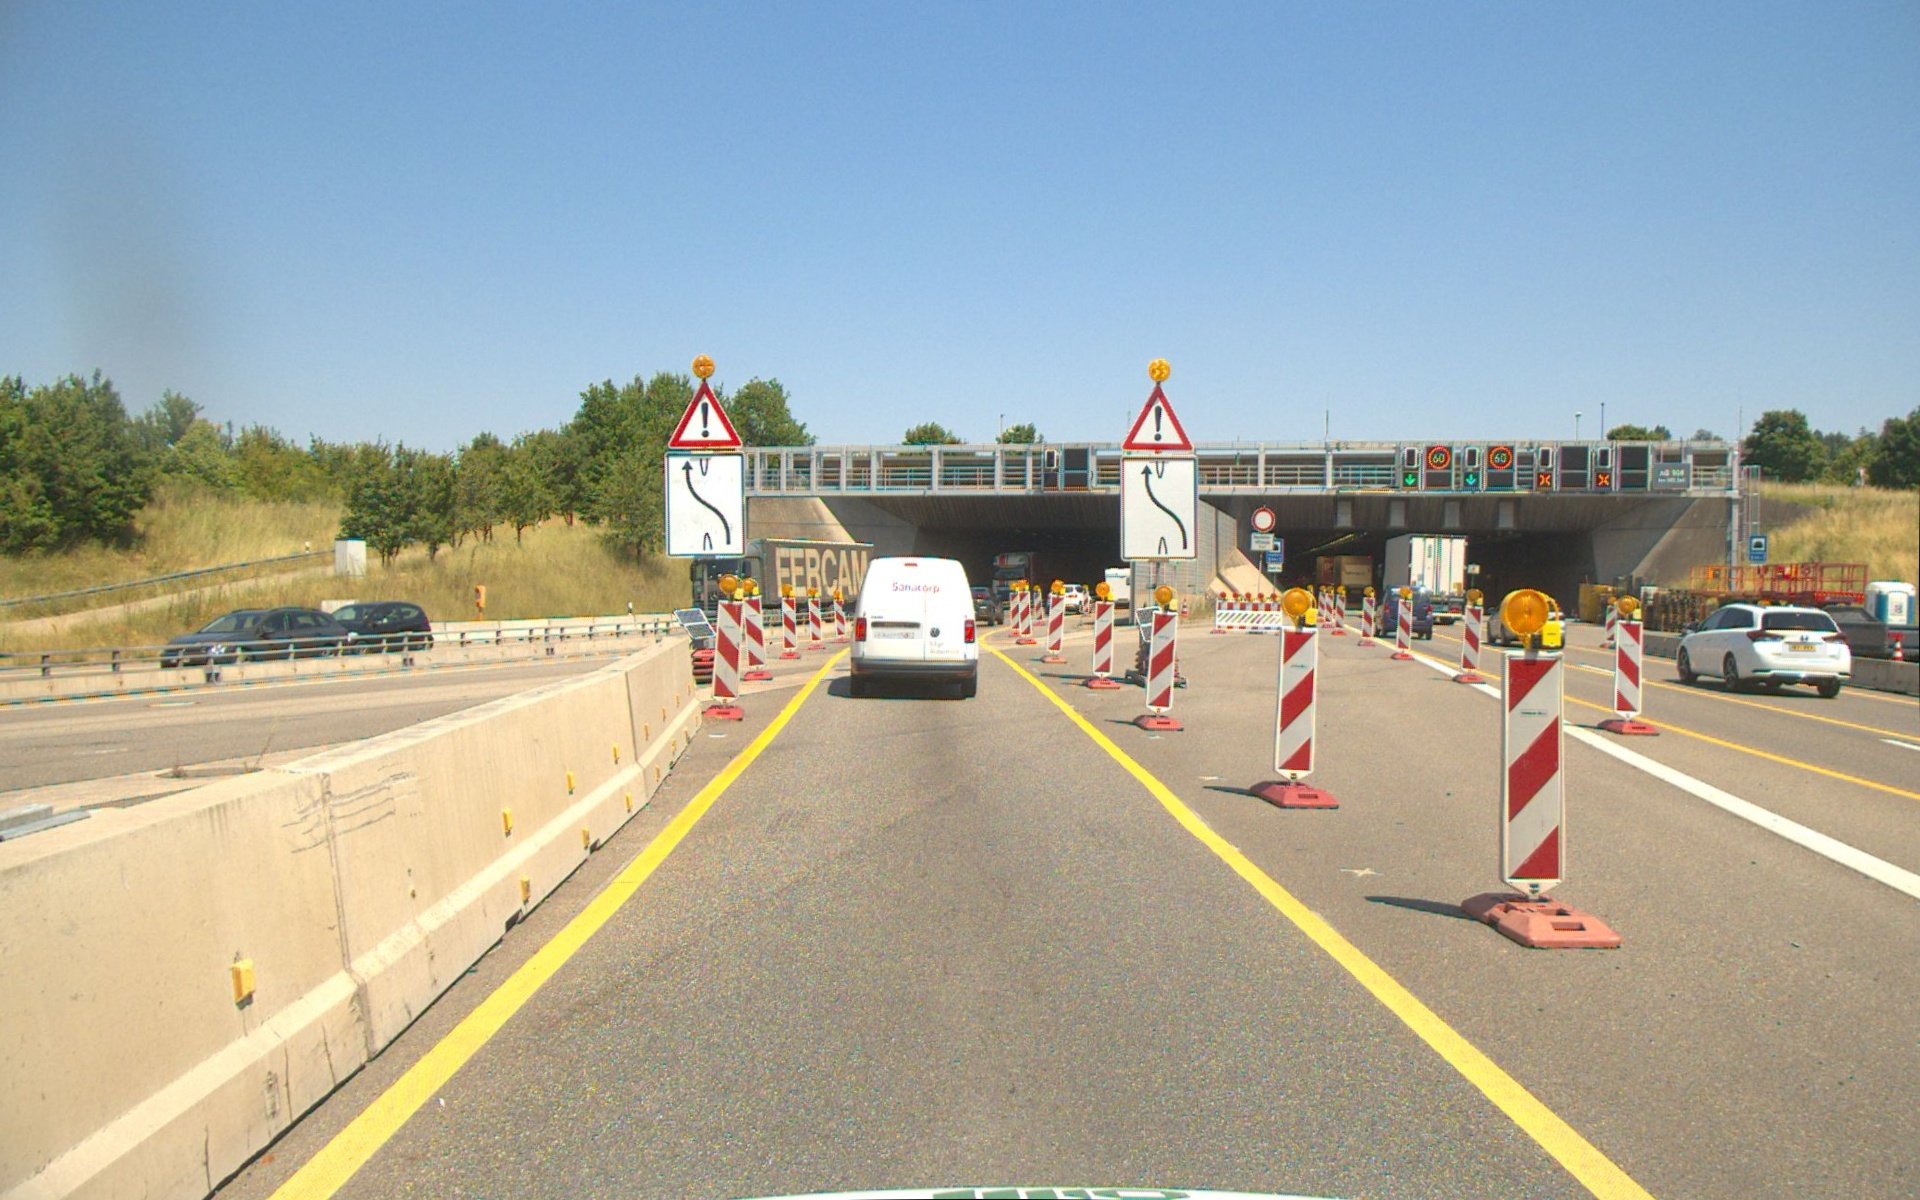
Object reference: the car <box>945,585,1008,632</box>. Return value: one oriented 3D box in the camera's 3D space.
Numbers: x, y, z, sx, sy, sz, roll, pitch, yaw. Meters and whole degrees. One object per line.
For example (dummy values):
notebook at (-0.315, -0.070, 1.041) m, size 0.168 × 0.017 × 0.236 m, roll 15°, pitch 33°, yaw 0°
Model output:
car at (0.717, 0.310, 67.116) m, size 1.770 × 1.847 × 4.413 m, roll 0°, pitch 0°, yaw 11°

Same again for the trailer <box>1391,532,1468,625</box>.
trailer at (22.874, -0.941, 81.157) m, size 2.674 × 4.133 × 14.106 m, roll 2°, pitch 0°, yaw 13°

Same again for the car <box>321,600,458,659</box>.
car at (-15.509, 0.780, 45.143) m, size 1.679 × 1.517 × 3.690 m, roll 0°, pitch 0°, yaw 17°

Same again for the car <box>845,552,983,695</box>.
car at (-0.608, 0.294, 23.188) m, size 1.771 × 1.825 × 3.730 m, roll 0°, pitch 0°, yaw -1°

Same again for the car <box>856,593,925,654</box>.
car at (-1.926, 0.587, 44.759) m, size 1.773 × 1.564 × 4.406 m, roll 0°, pitch 0°, yaw -4°

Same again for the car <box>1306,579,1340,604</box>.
car at (25.753, -0.584, 117.424) m, size 1.777 × 1.658 × 4.193 m, roll 2°, pitch 0°, yaw 5°

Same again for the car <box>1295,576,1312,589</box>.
car at (53.301, -2.772, 256.966) m, size 2.282 × 1.870 × 4.547 m, roll 2°, pitch 0°, yaw 8°

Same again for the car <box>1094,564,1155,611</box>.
car at (10.711, -0.791, 106.964) m, size 2.754 × 2.822 × 7.106 m, roll 1°, pitch 0°, yaw 15°

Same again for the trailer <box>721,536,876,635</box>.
trailer at (-7.534, -0.689, 80.183) m, size 2.384 × 4.372 × 13.817 m, roll 0°, pitch 0°, yaw 17°

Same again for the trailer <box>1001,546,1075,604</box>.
trailer at (6.063, -1.827, 126.097) m, size 2.288 × 4.174 × 13.268 m, roll 0°, pitch 0°, yaw 18°

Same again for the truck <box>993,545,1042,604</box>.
truck at (4.194, -1.806, 120.111) m, size 2.285 × 4.179 × 5.020 m, roll 0°, pitch 0°, yaw 17°

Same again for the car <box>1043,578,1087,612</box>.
car at (5.696, -0.267, 89.346) m, size 1.770 × 1.781 × 4.413 m, roll 0°, pitch 0°, yaw 12°

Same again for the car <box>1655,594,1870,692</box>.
car at (13.913, 0.743, 29.002) m, size 1.777 × 1.490 × 4.654 m, roll 3°, pitch -1°, yaw 4°

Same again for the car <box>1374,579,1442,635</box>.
car at (14.422, 0.221, 53.424) m, size 1.776 × 1.671 × 4.656 m, roll 2°, pitch 0°, yaw 12°

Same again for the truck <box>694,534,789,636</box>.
truck at (-9.626, -0.656, 73.306) m, size 2.380 × 4.344 × 4.841 m, roll 0°, pitch 0°, yaw 17°

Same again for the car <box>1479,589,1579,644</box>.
car at (16.865, 0.463, 49.218) m, size 1.776 × 1.490 × 4.656 m, roll 2°, pitch 0°, yaw 6°

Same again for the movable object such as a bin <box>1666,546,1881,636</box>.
movable object such as a bin at (31.198, -0.328, 64.413) m, size 3.045 × 3.063 × 14.713 m, roll -1°, pitch 0°, yaw 8°

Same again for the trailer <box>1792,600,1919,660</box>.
trailer at (27.804, 0.853, 50.005) m, size 2.540 × 1.596 × 6.239 m, roll -1°, pitch 0°, yaw 4°

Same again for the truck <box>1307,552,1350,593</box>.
truck at (41.068, -2.960, 184.650) m, size 3.329 × 4.142 × 16.549 m, roll 2°, pitch 0°, yaw 8°

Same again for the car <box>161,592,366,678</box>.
car at (-15.188, 0.716, 36.356) m, size 1.662 × 1.760 × 4.453 m, roll 0°, pitch 0°, yaw 18°

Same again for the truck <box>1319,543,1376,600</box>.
truck at (33.878, -2.393, 145.248) m, size 3.329 × 4.411 × 16.548 m, roll 2°, pitch 0°, yaw 8°
